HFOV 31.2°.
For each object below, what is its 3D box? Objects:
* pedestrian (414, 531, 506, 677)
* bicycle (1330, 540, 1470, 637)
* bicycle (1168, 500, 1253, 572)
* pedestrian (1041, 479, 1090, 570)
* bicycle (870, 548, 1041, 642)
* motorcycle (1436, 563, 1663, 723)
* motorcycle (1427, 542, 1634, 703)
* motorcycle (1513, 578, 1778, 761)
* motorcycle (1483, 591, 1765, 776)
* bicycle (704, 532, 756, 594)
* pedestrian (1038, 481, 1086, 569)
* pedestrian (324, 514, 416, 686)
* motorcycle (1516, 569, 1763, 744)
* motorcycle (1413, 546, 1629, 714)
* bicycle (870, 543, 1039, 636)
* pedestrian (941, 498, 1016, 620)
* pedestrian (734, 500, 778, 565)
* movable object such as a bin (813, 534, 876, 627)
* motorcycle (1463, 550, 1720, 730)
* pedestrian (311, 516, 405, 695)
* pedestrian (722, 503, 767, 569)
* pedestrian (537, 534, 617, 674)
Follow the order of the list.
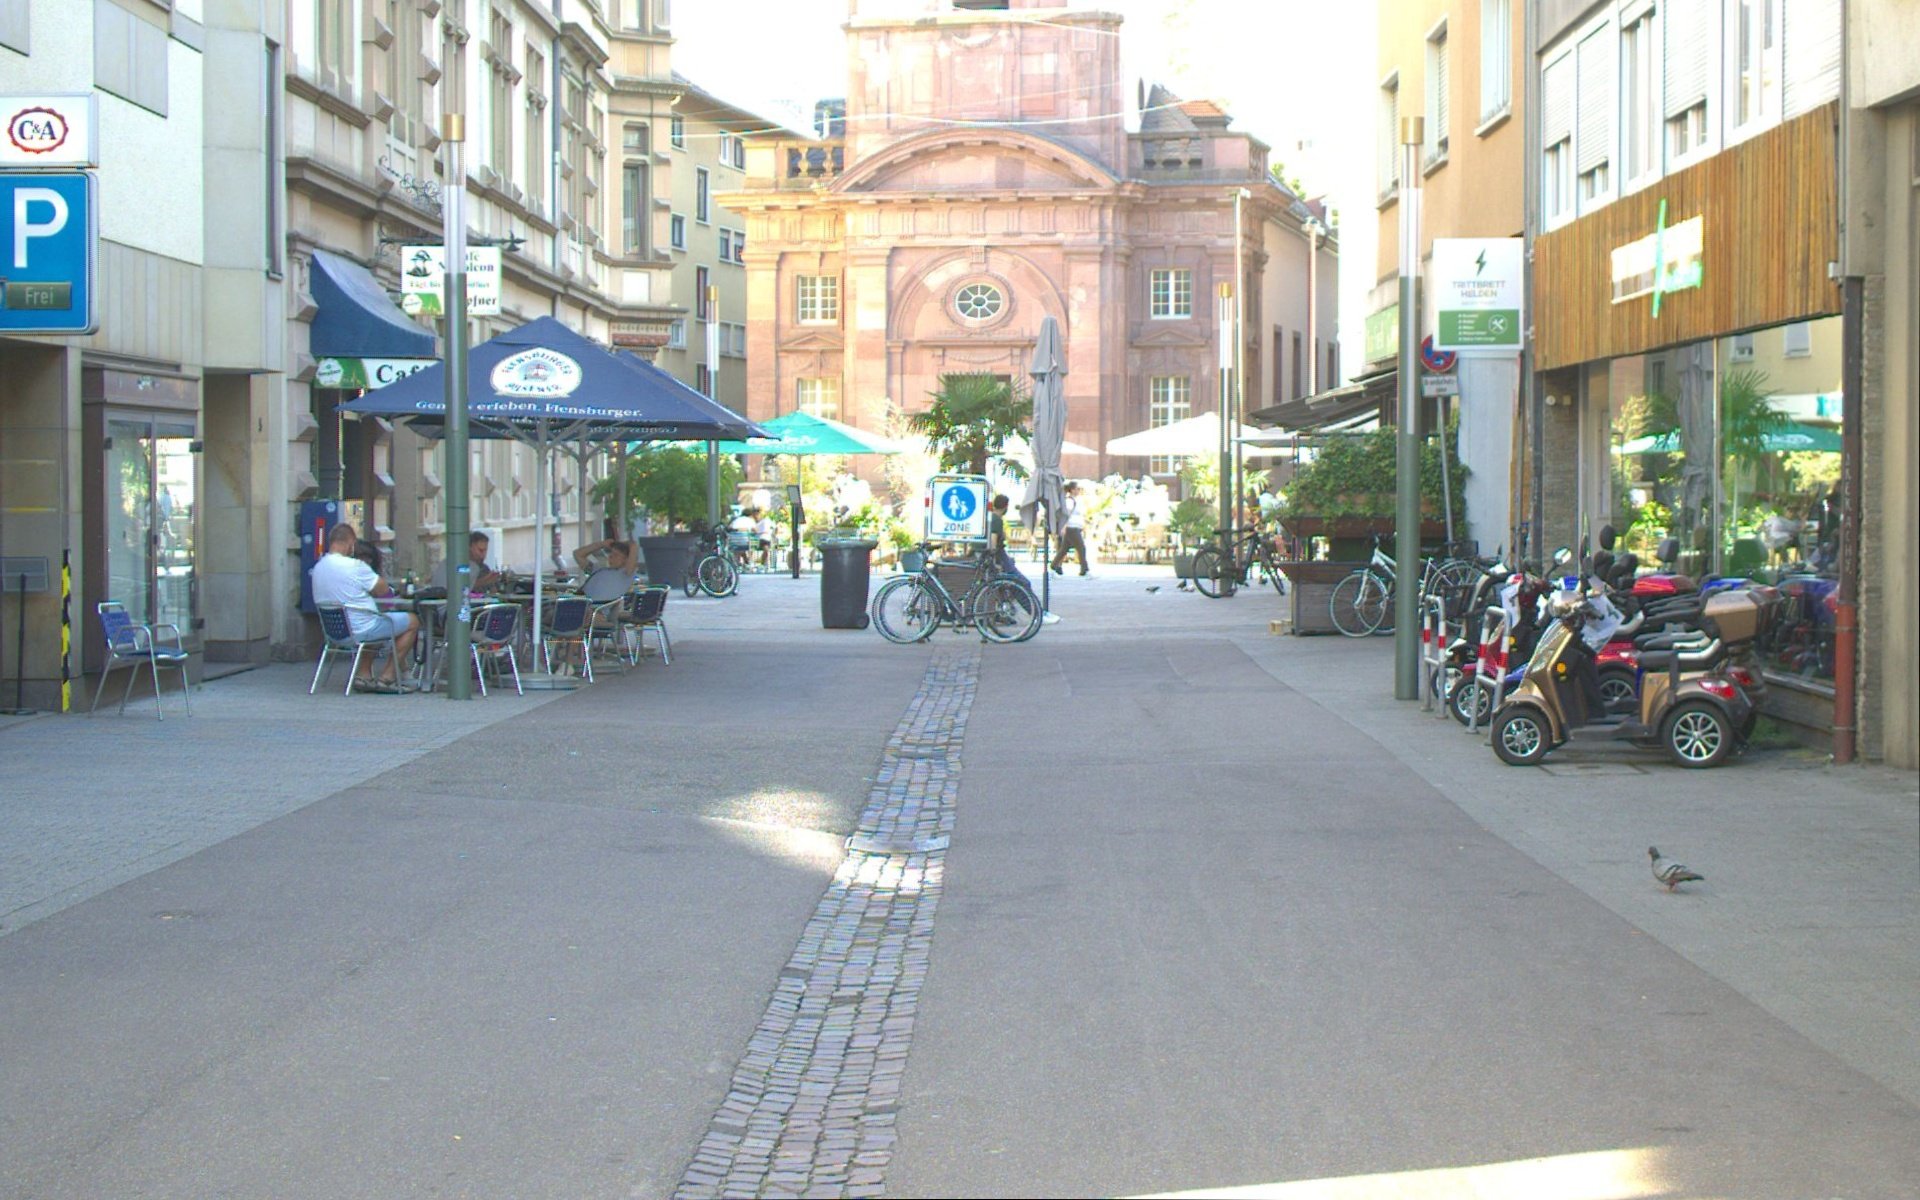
[{"bbox_3d":[-4.296,0.024,29.565,0.765,1.229,0.831,0,2,-7],"label":"pedestrian"},{"bbox_3d":[4.682,-0.125,36.579,1.464,1.001,0.573,0,2,8],"label":"bicycle"},{"bbox_3d":[4.581,-1.172,62.755,1.586,1.303,0.366,-1,2,-28],"label":"bicycle"},{"bbox_3d":[1.795,-1.285,58.499,0.784,1.550,0.535,0,2,6],"label":"pedestrian"},{"bbox_3d":[-0.050,-0.054,36.972,1.823,1.001,0.381,0,2,-2],"label":"bicycle"},{"bbox_3d":[4.052,0.286,23.641,1.485,1.072,0.412,0,1,19],"label":"motorcycle"},{"bbox_3d":[4.244,0.161,25.578,1.485,1.177,0.412,0,1,16],"label":"motorcycle"},{"bbox_3d":[4.123,0.406,20.678,1.518,1.072,0.412,0,1,19],"label":"motorcycle"},{"bbox_3d":[3.844,0.473,19.923,1.565,1.038,0.372,0,1,19],"label":"motorcycle"},{"bbox_3d":[-3.295,-0.544,49.366,0.456,0.847,2.146,0,2,4],"label":"bicycle"},{"bbox_3d":[1.914,-1.413,64.714,0.611,1.635,0.657,-1,2,-44],"label":"pedestrian"},{"bbox_3d":[-4.763,-0.011,27.730,0.717,1.363,0.710,0,2,-11],"label":"pedestrian"},{"bbox_3d":[4.284,0.348,21.678,1.485,1.072,0.412,0,1,19],"label":"motorcycle"},{"bbox_3d":[4.003,0.208,24.524,1.485,1.177,0.412,0,1,16],"label":"motorcycle"},{"bbox_3d":[-0.067,-0.114,37.366,1.823,1.001,0.381,0,2,-2],"label":"bicycle"},{"bbox_3d":[0.223,-0.497,41.500,0.884,1.459,0.731,0,2,2],"label":"pedestrian"},{"bbox_3d":[-3.852,-1.286,64.949,0.700,1.213,0.719,0,2,7],"label":"pedestrian"},{"bbox_3d":[-1.354,-0.231,40.287,0.721,1.071,0.374,0,2,0],"label":"movable object such as a bin"},{"bbox_3d":[4.199,0.255,22.865,1.626,1.171,0.480,0,1,19],"label":"motorcycle"},{"bbox_3d":[-4.685,0.032,26.729,0.708,1.363,0.720,0,2,-11],"label":"pedestrian"},{"bbox_3d":[-3.977,-1.181,63.522,0.700,1.213,0.719,0,2,7],"label":"pedestrian"},{"bbox_3d":[-3.386,0.027,30.350,0.692,1.211,0.583,0,2,-7],"label":"pedestrian"}]
